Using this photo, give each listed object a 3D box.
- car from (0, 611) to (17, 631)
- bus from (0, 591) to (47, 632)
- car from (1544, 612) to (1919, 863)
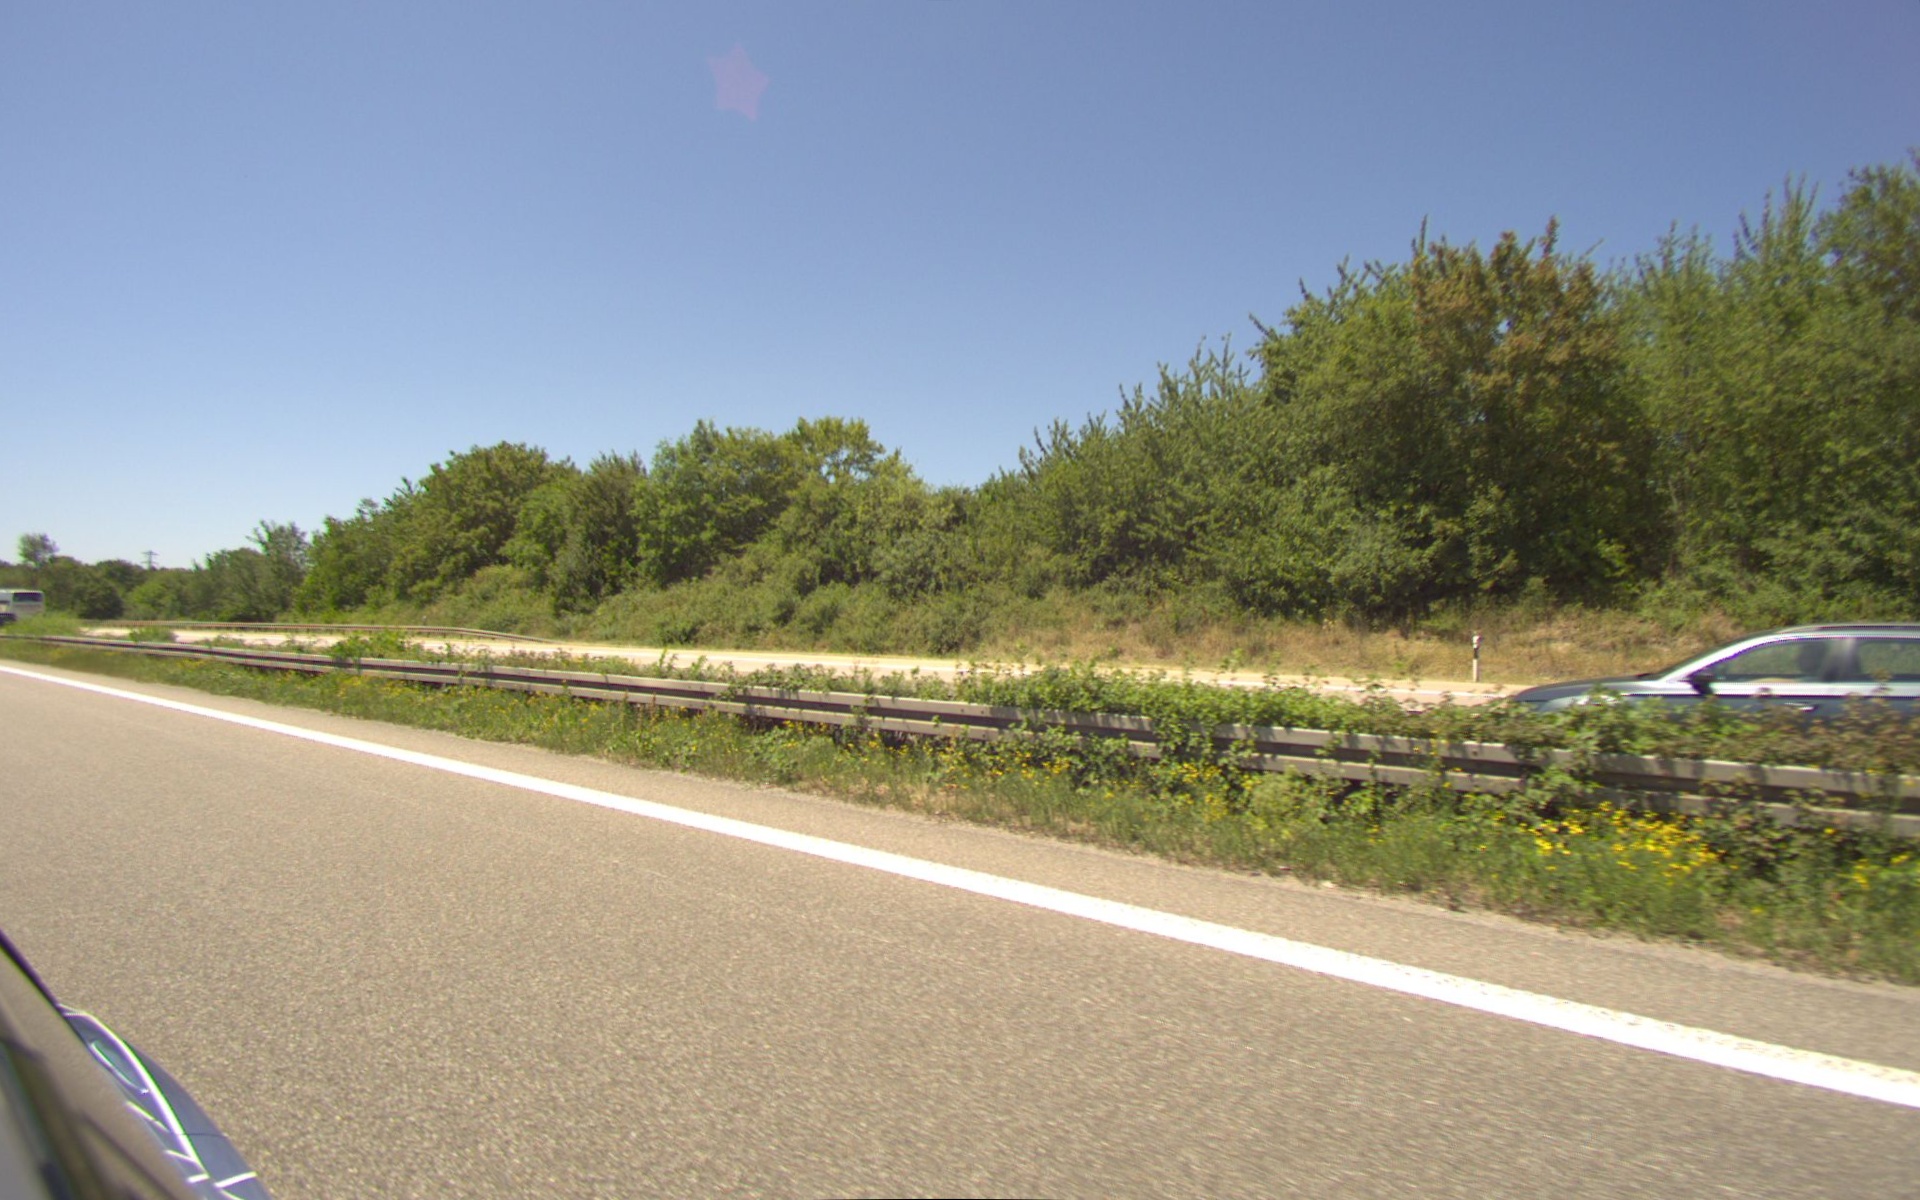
[{"bbox_3d":[-79.136,1.726,83.108,4.553,1.644,1.808,-1,-2,39],"label":"car"},{"bbox_3d":[-90.981,1.100,97.257,12.982,3.736,2.715,-1,-1,38],"label":"bus"},{"bbox_3d":[7.823,1.057,8.345,4.952,1.875,1.973,-1,-2,40],"label":"car"}]
